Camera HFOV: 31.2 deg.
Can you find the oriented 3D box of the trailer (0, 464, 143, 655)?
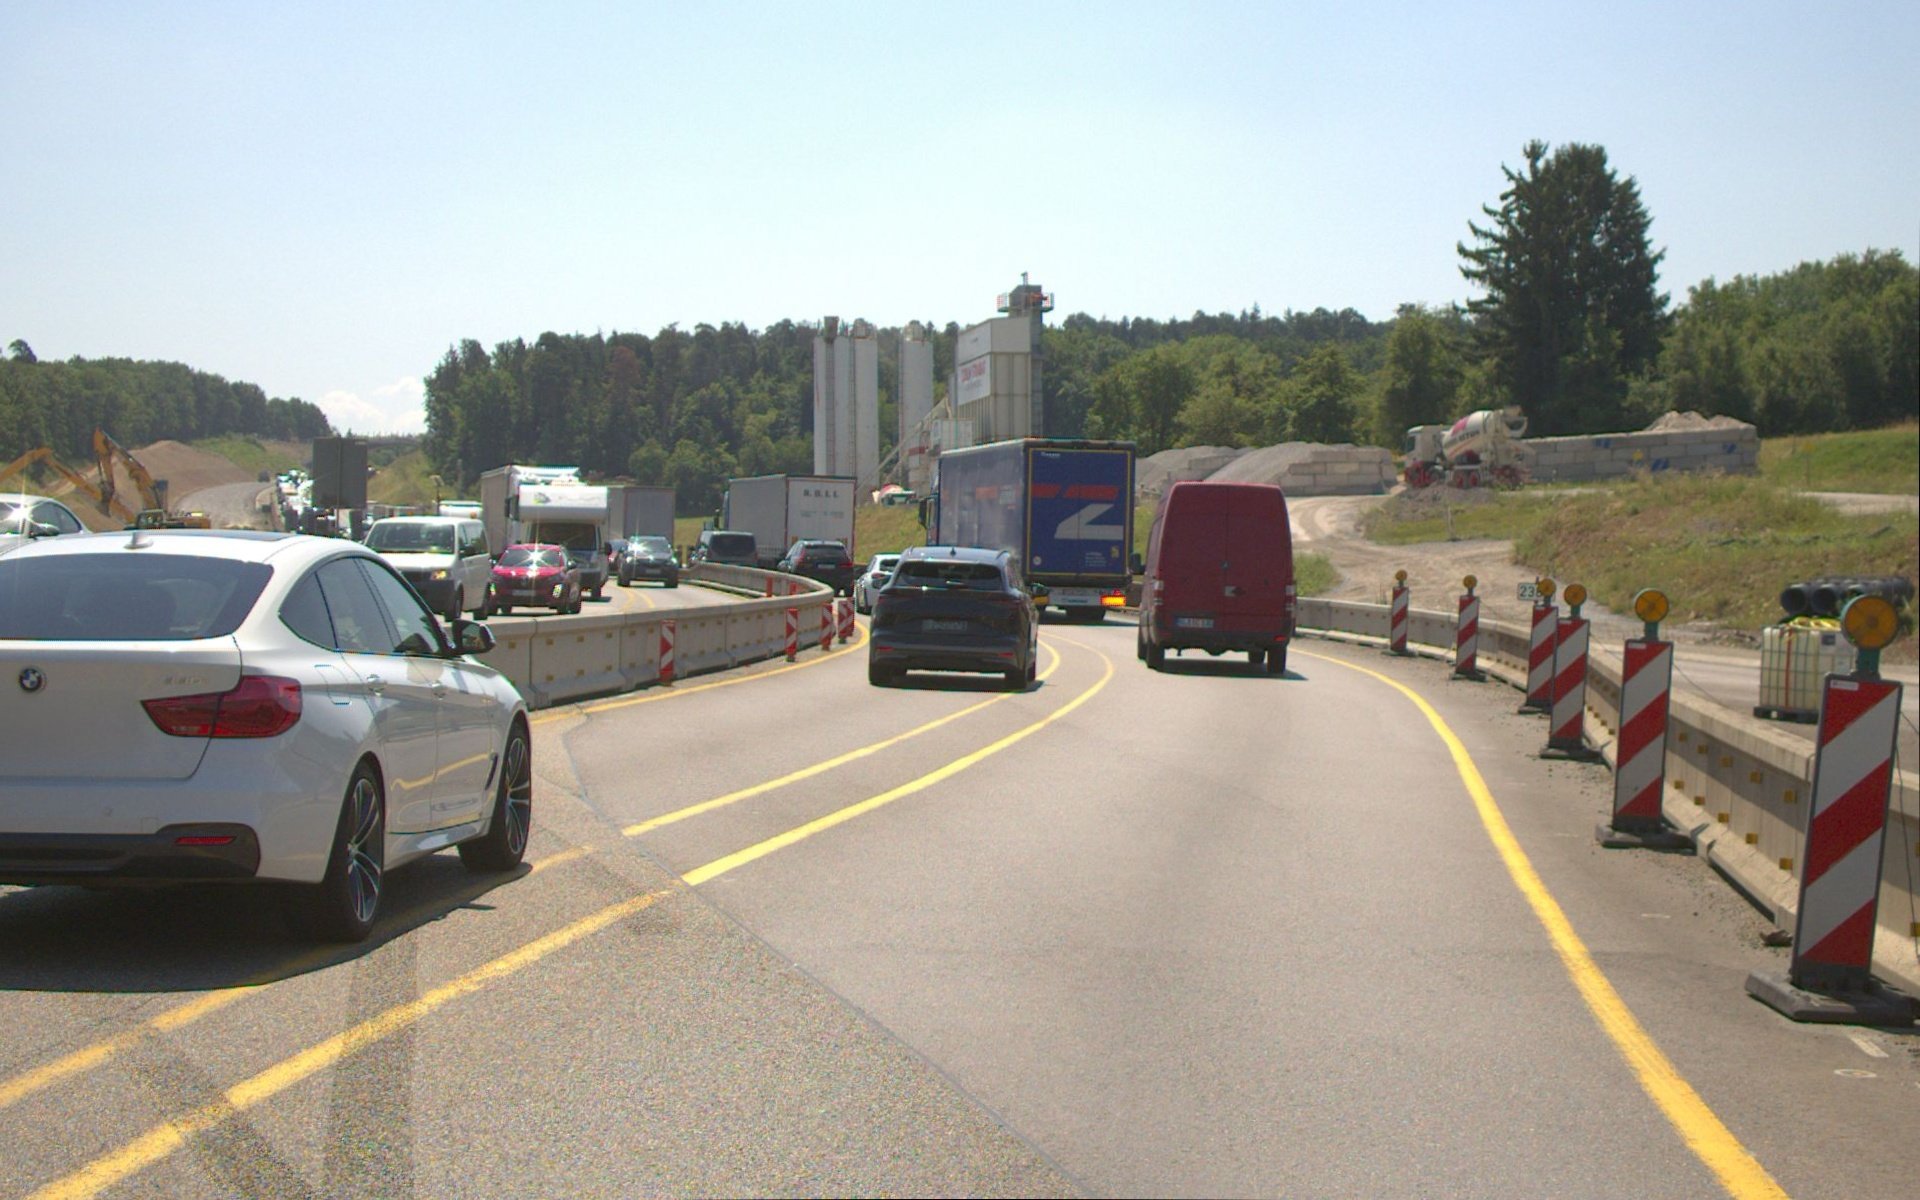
[{"bbox_3d":[-10.754,-0.486,38.591,1.866,2.015,4.436,1,1,4],"label":"trailer"}]

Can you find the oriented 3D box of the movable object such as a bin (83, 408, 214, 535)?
[{"bbox_3d":[-49.859,-7.862,211.328,7.635,7.687,3.447,0,1,-10],"label":"movable object such as a bin"}]

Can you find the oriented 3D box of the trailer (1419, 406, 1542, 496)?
[{"bbox_3d":[24.567,-6.977,162.489,2.755,4.100,6.748,0,1,-21],"label":"trailer"}]

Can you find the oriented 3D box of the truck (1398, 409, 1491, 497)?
[{"bbox_3d":[23.326,-7.057,165.759,2.744,4.081,4.102,0,1,-21],"label":"truck"}]

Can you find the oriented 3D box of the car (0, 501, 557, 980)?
[{"bbox_3d":[-2.950,0.404,13.961,1.795,1.529,5.073,3,1,2],"label":"car"}]

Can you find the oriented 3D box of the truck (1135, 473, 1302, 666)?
[{"bbox_3d":[3.709,-0.491,50.392,2.112,2.624,6.484,1,1,2],"label":"truck"}]

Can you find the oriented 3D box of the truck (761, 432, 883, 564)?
[{"bbox_3d":[-5.216,-3.769,128.073,3.682,4.675,9.755,0,1,-7],"label":"truck"}]

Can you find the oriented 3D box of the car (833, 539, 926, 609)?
[{"bbox_3d":[-1.920,-0.629,81.005,1.801,1.574,4.001,1,1,-7],"label":"car"}]

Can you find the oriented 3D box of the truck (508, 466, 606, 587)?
[{"bbox_3d":[-10.701,-1.971,91.778,2.441,3.061,7.250,1,1,-6],"label":"truck"}]

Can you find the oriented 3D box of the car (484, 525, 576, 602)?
[{"bbox_3d":[-9.449,-0.821,75.722,1.720,1.622,4.337,1,1,-3],"label":"car"}]

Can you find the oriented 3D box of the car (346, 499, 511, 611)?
[{"bbox_3d":[-9.618,-0.840,62.566,1.866,1.947,4.891,1,1,5],"label":"car"}]

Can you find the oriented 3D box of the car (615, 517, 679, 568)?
[{"bbox_3d":[-10.135,-1.882,111.592,1.660,1.600,4.397,1,1,0],"label":"car"}]

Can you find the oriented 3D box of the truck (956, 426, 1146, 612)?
[{"bbox_3d":[2.051,-1.903,81.358,3.015,4.138,8.275,0,1,-9],"label":"truck"}]

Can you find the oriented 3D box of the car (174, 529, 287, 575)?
[{"bbox_3d":[-23.443,-1.549,110.551,3.192,1.450,1.547,0,1,-38],"label":"car"}]

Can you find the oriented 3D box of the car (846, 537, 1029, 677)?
[{"bbox_3d":[-0.215,0.042,40.328,1.795,1.529,3.931,1,1,5],"label":"car"}]
